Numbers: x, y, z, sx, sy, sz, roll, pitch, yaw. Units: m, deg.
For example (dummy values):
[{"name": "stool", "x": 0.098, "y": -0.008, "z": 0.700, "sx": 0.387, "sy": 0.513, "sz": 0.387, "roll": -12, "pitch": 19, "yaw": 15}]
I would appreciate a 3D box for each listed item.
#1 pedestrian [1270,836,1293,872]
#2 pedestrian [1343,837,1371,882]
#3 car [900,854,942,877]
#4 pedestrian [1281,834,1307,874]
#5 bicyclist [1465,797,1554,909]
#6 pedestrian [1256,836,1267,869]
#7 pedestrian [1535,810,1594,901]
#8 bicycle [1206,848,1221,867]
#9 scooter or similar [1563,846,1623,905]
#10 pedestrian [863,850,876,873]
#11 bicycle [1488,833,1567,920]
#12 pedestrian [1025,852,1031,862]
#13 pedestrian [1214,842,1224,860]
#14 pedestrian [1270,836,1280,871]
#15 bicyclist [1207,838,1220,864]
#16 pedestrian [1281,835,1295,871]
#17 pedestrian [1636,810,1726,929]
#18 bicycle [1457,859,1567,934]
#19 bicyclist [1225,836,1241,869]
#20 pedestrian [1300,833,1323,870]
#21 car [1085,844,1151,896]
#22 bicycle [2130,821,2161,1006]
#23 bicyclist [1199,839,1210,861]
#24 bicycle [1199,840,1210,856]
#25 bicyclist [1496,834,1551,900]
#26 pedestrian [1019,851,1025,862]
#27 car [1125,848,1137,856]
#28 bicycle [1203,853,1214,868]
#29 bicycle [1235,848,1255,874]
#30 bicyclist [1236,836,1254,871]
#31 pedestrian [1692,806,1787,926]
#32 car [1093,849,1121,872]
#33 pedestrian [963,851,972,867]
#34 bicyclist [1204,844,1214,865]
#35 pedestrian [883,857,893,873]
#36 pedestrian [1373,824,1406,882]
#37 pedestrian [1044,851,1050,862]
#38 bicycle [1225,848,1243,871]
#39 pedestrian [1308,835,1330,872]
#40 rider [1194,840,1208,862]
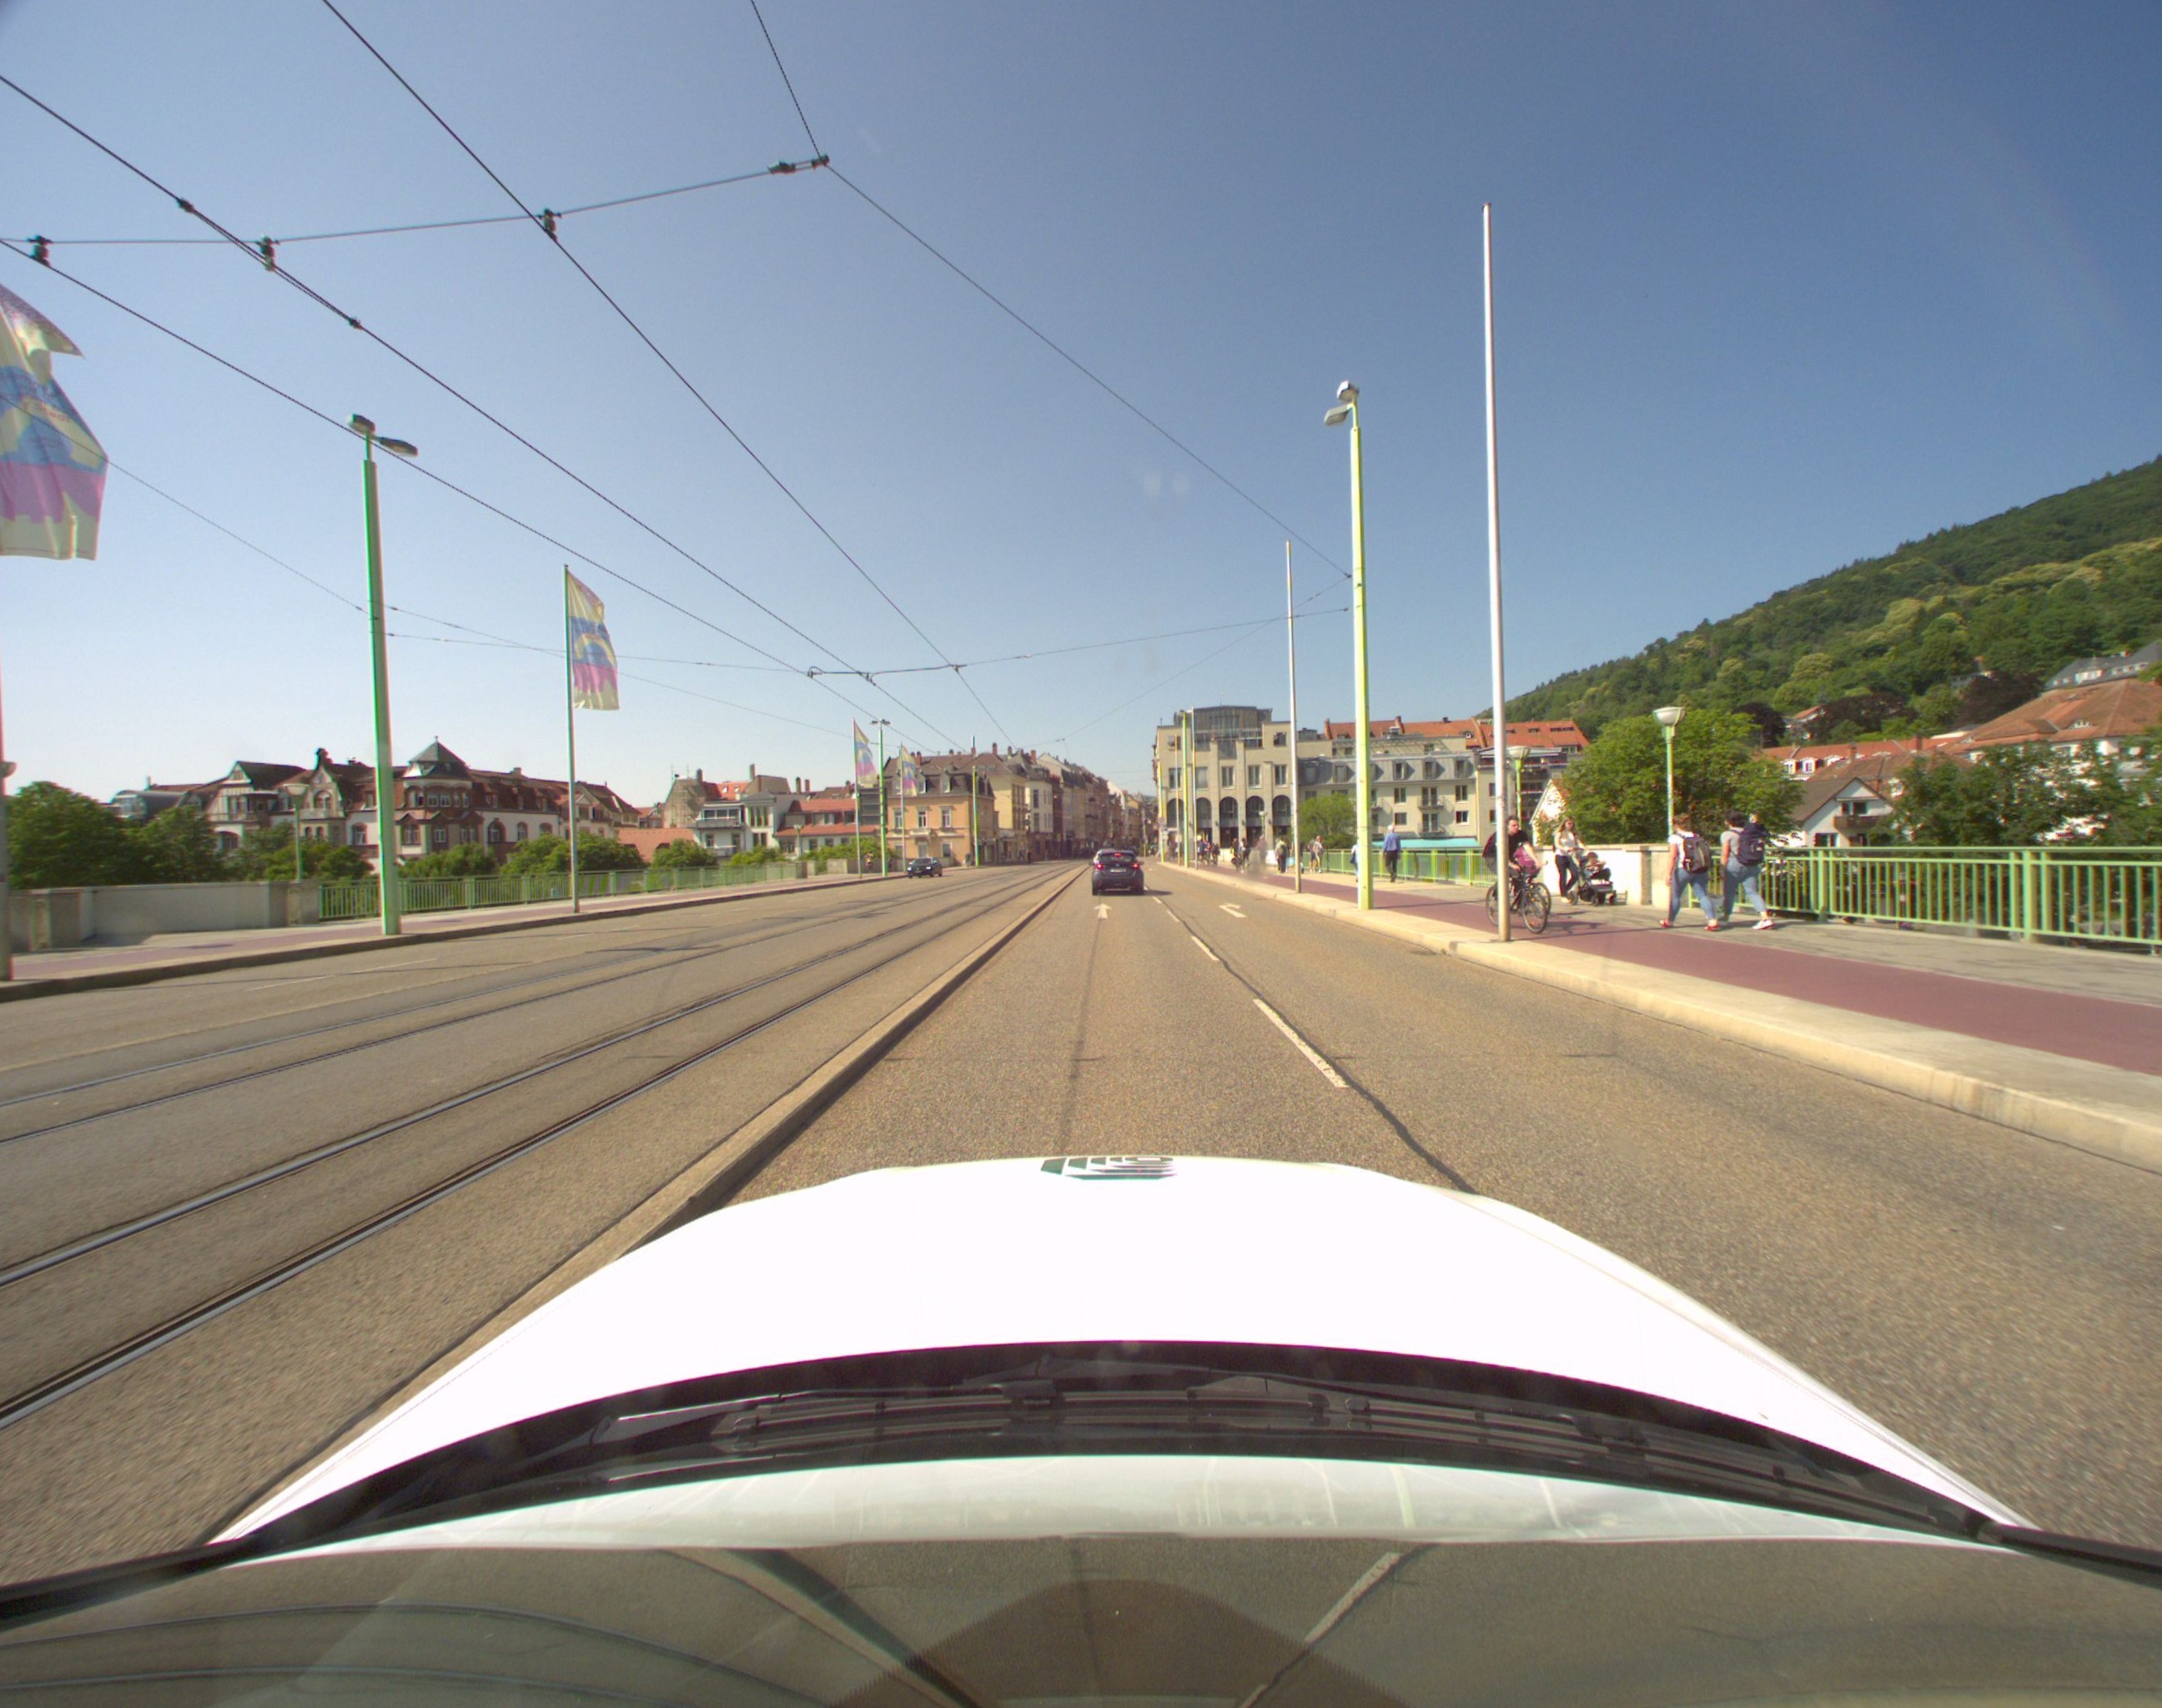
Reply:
[{"name": "pedestrian", "x": 9.514, "y": -0.006, "z": 38.640, "sx": 0.831, "sy": 1.689, "sz": 0.869, "roll": -2, "pitch": 1, "yaw": 1}, {"name": "pedestrian", "x": 9.216, "y": 0.185, "z": 27.205, "sx": 0.611, "sy": 1.465, "sz": 0.848, "roll": -2, "pitch": 1, "yaw": 2}, {"name": "car", "x": -11.002, "y": 0.762, "z": 56.399, "sx": 1.986, "sy": 1.479, "sz": 4.001, "roll": -2, "pitch": 1, "yaw": 1}, {"name": "pedestrian", "x": 9.615, "y": -0.027, "z": 36.745, "sx": 0.926, "sy": 1.761, "sz": 0.938, "roll": -2, "pitch": 1, "yaw": 1}, {"name": "bicyclist", "x": 6.451, "y": -0.015, "z": 12.337, "sx": 0.650, "sy": 1.567, "sz": 1.339, "roll": -3, "pitch": 0, "yaw": 5}, {"name": "pedestrian", "x": 9.283, "y": -0.067, "z": 41.940, "sx": 0.424, "sy": 1.671, "sz": 0.620, "roll": 1, "pitch": 0, "yaw": 2}, {"name": "pedestrian", "x": 9.675, "y": 0.015, "z": 16.317, "sx": 0.639, "sy": 1.756, "sz": 0.867, "roll": -2, "pitch": 1, "yaw": 0}, {"name": "bicycle", "x": 8.877, "y": 0.210, "z": 54.567, "sx": 0.664, "sy": 1.178, "sz": 2.029, "roll": -2, "pitch": 1, "yaw": 1}, {"name": "scooter or similar", "x": 9.697, "y": 0.398, "z": 15.451, "sx": 0.586, "sy": 1.069, "sz": 0.865, "roll": -2, "pitch": 1, "yaw": 0}, {"name": "pedestrian", "x": -16.428, "y": 0.563, "z": 63.391, "sx": 0.759, "sy": 1.786, "sz": 0.664, "roll": -1, "pitch": 1, "yaw": 4}, {"name": "bicycle", "x": 7.602, "y": 0.338, "z": 13.970, "sx": 0.531, "sy": 1.367, "sz": 2.223, "roll": -1, "pitch": 1, "yaw": 12}, {"name": "pedestrian", "x": -7.302, "y": 0.385, "z": 112.021, "sx": 0.759, "sy": 1.397, "sz": 0.664, "roll": -1, "pitch": 1, "yaw": 4}, {"name": "pedestrian", "x": 11.654, "y": -0.275, "z": 68.758, "sx": 0.654, "sy": 1.451, "sz": 0.644, "roll": -2, "pitch": 1, "yaw": -4}, {"name": "pedestrian", "x": 10.033, "y": -0.006, "z": 42.065, "sx": 0.366, "sy": 1.794, "sz": 0.604, "roll": 0, "pitch": 0, "yaw": 2}, {"name": "bicyclist", "x": 8.867, "y": -0.191, "z": 54.491, "sx": 0.713, "sy": 1.676, "sz": 0.869, "roll": -2, "pitch": 1, "yaw": 0}, {"name": "pedestrian", "x": 10.147, "y": -0.047, "z": 40.003, "sx": 0.526, "sy": 1.748, "sz": 0.729, "roll": 0, "pitch": 0, "yaw": 2}, {"name": "pedestrian", "x": 8.390, "y": 0.207, "z": 11.414, "sx": 0.597, "sy": 1.586, "sz": 0.867, "roll": -2, "pitch": 1, "yaw": 0}, {"name": "bicycle", "x": 6.494, "y": 0.603, "z": 12.424, "sx": 0.650, "sy": 0.981, "sz": 2.181, "roll": -3, "pitch": 0, "yaw": 5}, {"name": "bicyclist", "x": 7.967, "y": -0.092, "z": 42.712, "sx": 0.625, "sy": 1.689, "sz": 0.869, "roll": -2, "pitch": 1, "yaw": 0}, {"name": "pedestrian", "x": 10.931, "y": -0.115, "z": 38.627, "sx": 0.831, "sy": 1.689, "sz": 0.869, "roll": -2, "pitch": 1, "yaw": 1}, {"name": "car", "x": 1.216, "y": 0.499, "z": 28.512, "sx": 1.905, "sy": 1.540, "sz": 3.997, "roll": 3, "pitch": 2, "yaw": -2}, {"name": "bicycle", "x": 7.722, "y": 0.418, "z": 4.646, "sx": 0.616, "sy": 1.271, "sz": 2.216, "roll": -2, "pitch": 1, "yaw": 0}, {"name": "bicyclist", "x": 9.626, "y": -0.301, "z": 63.403, "sx": 0.792, "sy": 1.676, "sz": 0.870, "roll": -1, "pitch": 1, "yaw": 5}, {"name": "bicycle", "x": 9.619, "y": -0.471, "z": 63.403, "sx": 0.663, "sy": 1.178, "sz": 2.032, "roll": -1, "pitch": 1, "yaw": 5}, {"name": "bicyclist", "x": 7.596, "y": 0.213, "z": 14.008, "sx": 0.595, "sy": 1.101, "sz": 0.855, "roll": -1, "pitch": 1, "yaw": 12}, {"name": "pedestrian", "x": -8.097, "y": 0.334, "z": 111.332, "sx": 0.759, "sy": 1.397, "sz": 0.664, "roll": -1, "pitch": 1, "yaw": 4}, {"name": "car", "x": 9.523, "y": -0.406, "z": 155.039, "sx": 1.868, "sy": 1.409, "sz": 4.008, "roll": -1, "pitch": 1, "yaw": 7}, {"name": "bicycle", "x": 9.495, "y": 0.481, "z": 60.550, "sx": 0.663, "sy": 1.049, "sz": 2.032, "roll": -1, "pitch": 1, "yaw": 5}, {"name": "bicycle", "x": 7.863, "y": 0.338, "z": 39.110, "sx": 0.591, "sy": 1.178, "sz": 1.940, "roll": -2, "pitch": 1, "yaw": 1}, {"name": "bicyclist", "x": 7.846, "y": -0.033, "z": 38.926, "sx": 0.654, "sy": 1.676, "sz": 0.869, "roll": -2, "pitch": 1, "yaw": 0}, {"name": "pedestrian", "x": 9.085, "y": 0.151, "z": 11.269, "sx": 0.597, "sy": 1.586, "sz": 0.867, "roll": -2, "pitch": 1, "yaw": 0}, {"name": "car", "x": 1.815, "y": 0.431, "z": 58.194, "sx": 1.798, "sy": 1.469, "sz": 3.999, "roll": -3, "pitch": 1, "yaw": -1}, {"name": "pedestrian", "x": -12.029, "y": 0.555, "z": 86.547, "sx": 0.759, "sy": 1.665, "sz": 0.664, "roll": -1, "pitch": 1, "yaw": 4}, {"name": "bicyclist", "x": 9.486, "y": 0.035, "z": 60.504, "sx": 0.648, "sy": 1.529, "sz": 0.976, "roll": -1, "pitch": 1, "yaw": 5}, {"name": "pedestrian", "x": -16.196, "y": 0.891, "z": 68.356, "sx": 0.570, "sy": 1.304, "sz": 0.544, "roll": -1, "pitch": 1, "yaw": 4}, {"name": "pedestrian", "x": 9.939, "y": -0.029, "z": 26.272, "sx": 0.710, "sy": 1.810, "sz": 0.848, "roll": -2, "pitch": 1, "yaw": 1}, {"name": "pedestrian", "x": -5.218, "y": 0.389, "z": 125.347, "sx": 0.759, "sy": 1.698, "sz": 0.664, "roll": -1, "pitch": 1, "yaw": 4}, {"name": "bicycle", "x": 7.966, "y": 0.279, "z": 42.465, "sx": 0.524, "sy": 1.178, "sz": 2.029, "roll": -2, "pitch": 1, "yaw": 1}, {"name": "pedestrian", "x": 10.838, "y": -0.037, "z": 37.083, "sx": 0.710, "sy": 1.651, "sz": 0.848, "roll": -2, "pitch": 1, "yaw": 2}, {"name": "rider", "x": 8.571, "y": -0.202, "z": 58.103, "sx": 0.886, "sy": 1.504, "sz": 0.841, "roll": -2, "pitch": 1, "yaw": 0}]
